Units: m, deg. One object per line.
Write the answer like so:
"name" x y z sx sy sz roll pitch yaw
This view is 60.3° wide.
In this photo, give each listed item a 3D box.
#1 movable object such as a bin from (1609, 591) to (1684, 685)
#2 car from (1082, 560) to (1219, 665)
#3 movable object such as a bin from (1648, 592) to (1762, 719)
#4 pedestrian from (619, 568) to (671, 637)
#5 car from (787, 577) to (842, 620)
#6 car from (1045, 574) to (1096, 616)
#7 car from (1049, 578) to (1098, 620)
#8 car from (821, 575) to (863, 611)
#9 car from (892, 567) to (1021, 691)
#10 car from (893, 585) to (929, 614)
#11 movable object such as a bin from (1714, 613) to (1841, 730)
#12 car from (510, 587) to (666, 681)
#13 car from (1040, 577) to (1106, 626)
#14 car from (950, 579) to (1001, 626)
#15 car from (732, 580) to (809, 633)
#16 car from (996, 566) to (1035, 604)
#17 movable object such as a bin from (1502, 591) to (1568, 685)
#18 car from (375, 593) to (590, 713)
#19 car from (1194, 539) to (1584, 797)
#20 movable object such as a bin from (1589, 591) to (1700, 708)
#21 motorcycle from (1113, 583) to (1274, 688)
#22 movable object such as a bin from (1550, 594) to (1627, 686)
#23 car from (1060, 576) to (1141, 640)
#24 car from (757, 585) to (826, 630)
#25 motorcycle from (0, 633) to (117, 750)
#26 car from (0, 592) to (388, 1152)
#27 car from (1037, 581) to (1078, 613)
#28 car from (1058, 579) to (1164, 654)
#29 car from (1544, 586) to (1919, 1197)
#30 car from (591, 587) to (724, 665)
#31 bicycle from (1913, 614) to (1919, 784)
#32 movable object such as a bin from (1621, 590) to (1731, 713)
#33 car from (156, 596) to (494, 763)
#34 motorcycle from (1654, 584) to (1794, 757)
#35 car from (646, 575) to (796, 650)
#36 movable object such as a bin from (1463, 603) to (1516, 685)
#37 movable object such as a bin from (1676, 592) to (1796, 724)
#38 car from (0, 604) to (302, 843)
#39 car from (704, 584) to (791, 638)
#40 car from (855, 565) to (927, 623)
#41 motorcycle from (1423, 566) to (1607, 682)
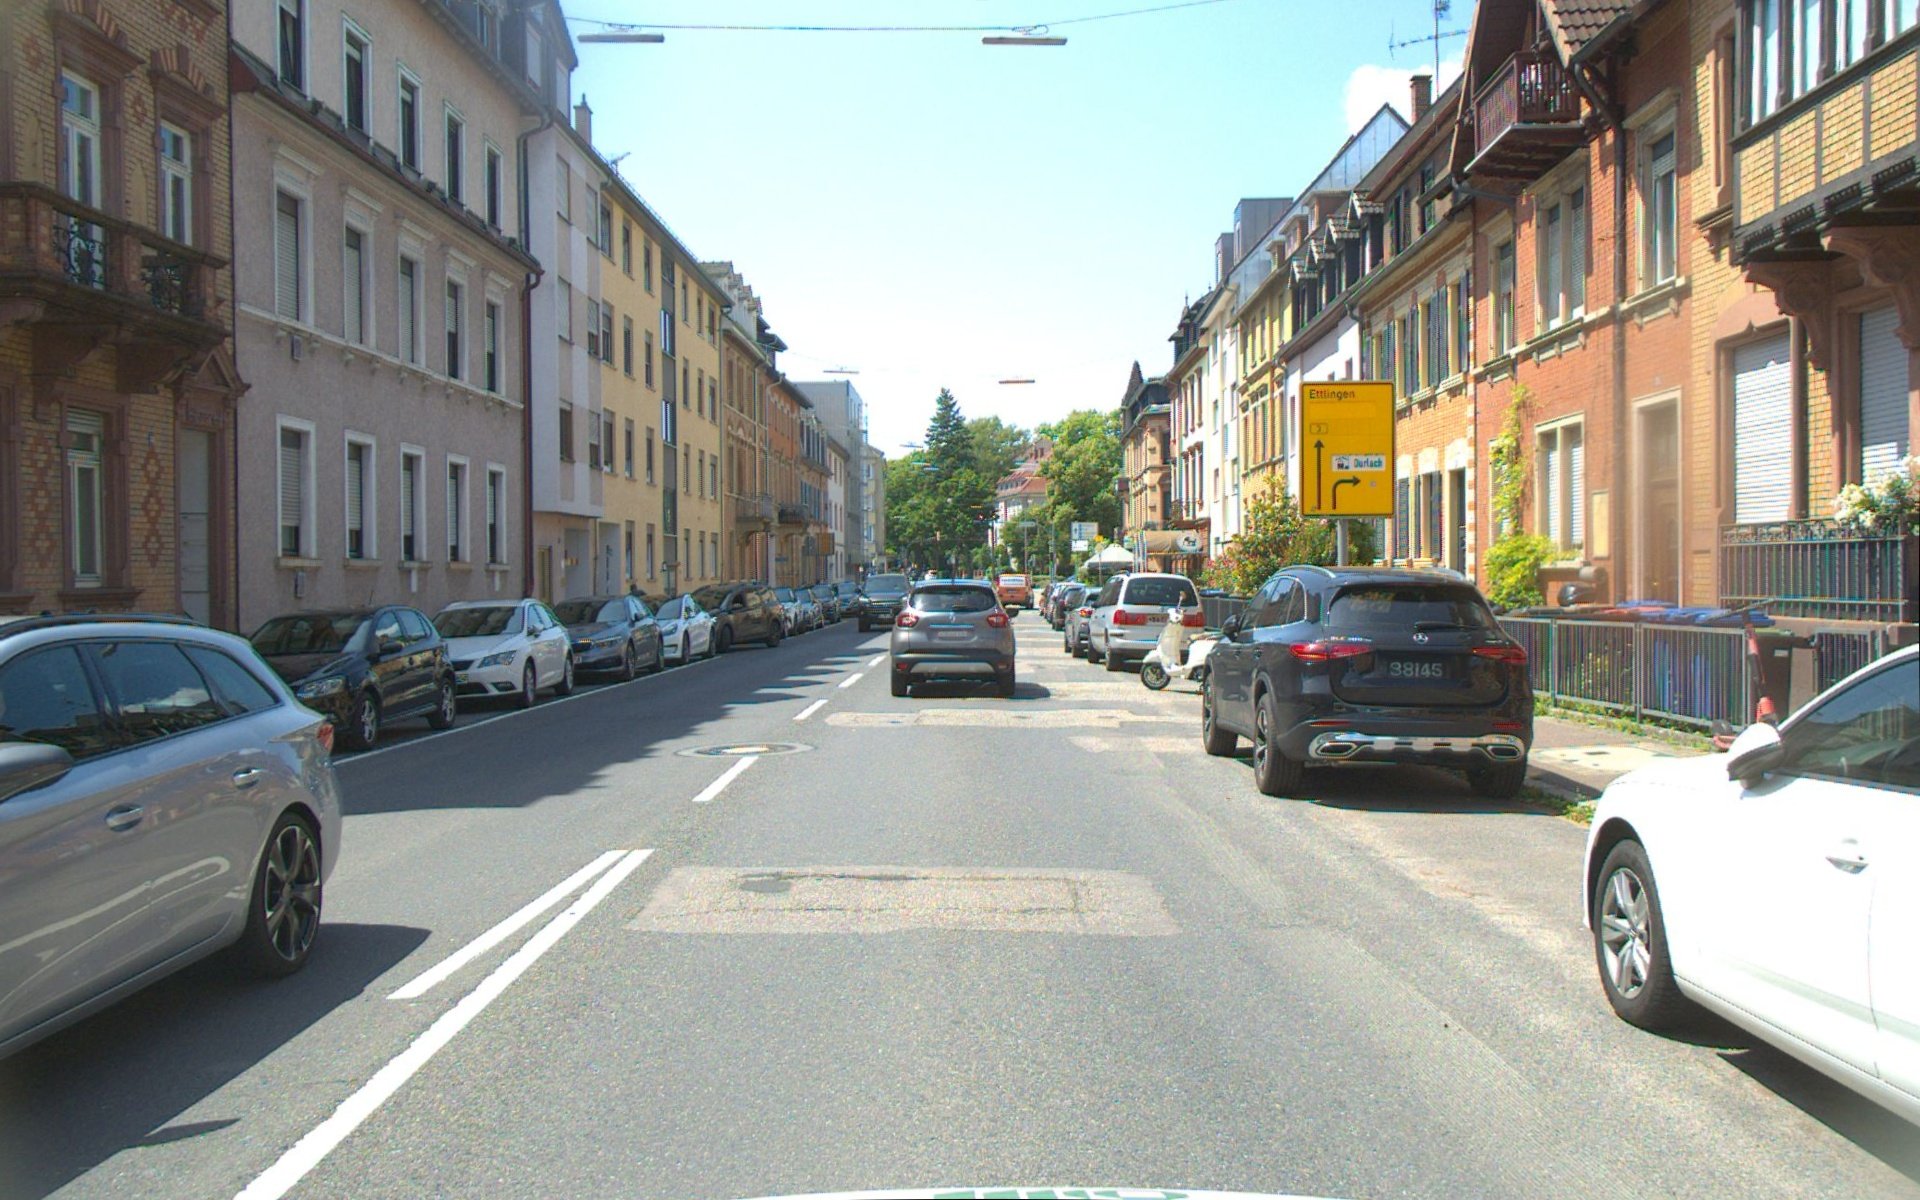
"movable object such as a bin" 8.239 0.449 19.874 0.596 1.095 0.761 0 0 1
"car" 3.477 0.185 31.007 1.823 1.778 4.616 1 1 -3
"movable object such as a bin" 6.713 0.493 14.925 0.772 1.107 0.543 -1 0 -3
"pedestrian" -8.274 0.069 43.450 1.127 1.780 0.970 -1 0 3
"car" -5.998 -0.066 68.546 1.866 1.648 4.302 -3 1 0
"car" 4.335 -0.227 65.452 1.822 1.580 4.001 1 1 2
"car" 4.176 -0.059 61.134 1.625 1.466 4.001 1 1 1
"car" -5.687 -0.341 79.923 1.867 1.648 4.300 -3 1 -3
"car" -0.038 0.354 23.974 1.708 1.644 4.000 0 1 0
"car" -2.496 -0.048 83.488 1.779 1.413 3.999 -1 1 -2
"movable object such as a bin" 6.763 0.579 13.701 0.772 0.923 0.539 -1 0 -3
"car" -6.488 0.548 29.322 1.803 1.447 4.644 -3 0 -2
"car" 3.650 0.021 54.208 1.822 1.490 4.618 1 1 0
"car" 0.573 0.075 63.295 1.775 1.649 4.440 -2 0 -1
"car" -6.021 0.181 52.954 1.866 1.536 4.303 -3 1 0
"car" 3.138 -0.833 92.500 1.951 2.049 4.469 -1 1 4
"movable object such as a bin" 6.913 0.449 19.900 0.545 1.094 0.727 0 0 1
"car" -6.609 0.663 23.389 1.803 1.447 4.500 -3 0 -2
"car" 3.211 0.438 13.415 1.953 1.691 4.625 -1 0 0
"movable object such as a bin" 6.687 0.472 16.184 0.772 1.107 0.686 -1 0 -3
"motorcycle" 3.274 0.475 23.261 1.958 1.410 1.108 0 0 39
"movable object such as a bin" 7.547 0.466 19.878 0.645 1.073 0.749 0 0 1
"car" 3.543 0.159 42.247 1.661 1.513 4.618 1 1 0
"car" -5.980 0.238 59.152 1.865 1.425 4.755 -3 1 1
"motorcycle" -9.418 0.893 16.746 0.698 1.071 1.937 0 0 3
"car" -3.445 0.761 5.165 1.754 1.445 4.315 -2 1 0
"car" 4.458 -0.155 75.793 1.579 1.468 3.436 0 1 -2
"car" 3.259 0.311 36.410 1.823 1.513 4.309 1 1 -1
"car" 3.135 0.697 4.209 1.681 1.439 4.589 -1 1 0
"car" -6.330 0.500 35.104 1.802 1.447 4.559 -3 0 1
"bicycle" 6.424 0.638 9.703 0.581 1.085 1.883 -1 0 0
"movable object such as a bin" 6.702 0.472 15.510 0.772 1.107 0.553 -1 0 -3
"car" -6.745 0.761 18.160 1.802 1.447 4.503 -4 0 1
"motorcycle" 5.948 0.515 12.940 0.431 1.259 1.358 -2 1 0
"car" -5.902 0.270 41.462 1.864 1.666 4.561 -2 1 18
"movable object such as a bin" 6.363 0.523 19.898 0.471 0.957 0.526 0 0 1
"movable object such as a bin" 6.726 0.491 14.349 0.772 1.107 0.539 -1 0 -3
"car" -6.772 0.843 12.507 1.803 1.447 4.501 -5 0 -2
"car" -6.111 0.285 48.043 1.865 1.403 4.062 -3 1 1
"car" -2.266 -0.217 55.342 1.952 1.823 5.150 -1 1 2
"motorcycle" 7.366 0.311 22.017 2.086 1.433 0.937 -2 0 -1
